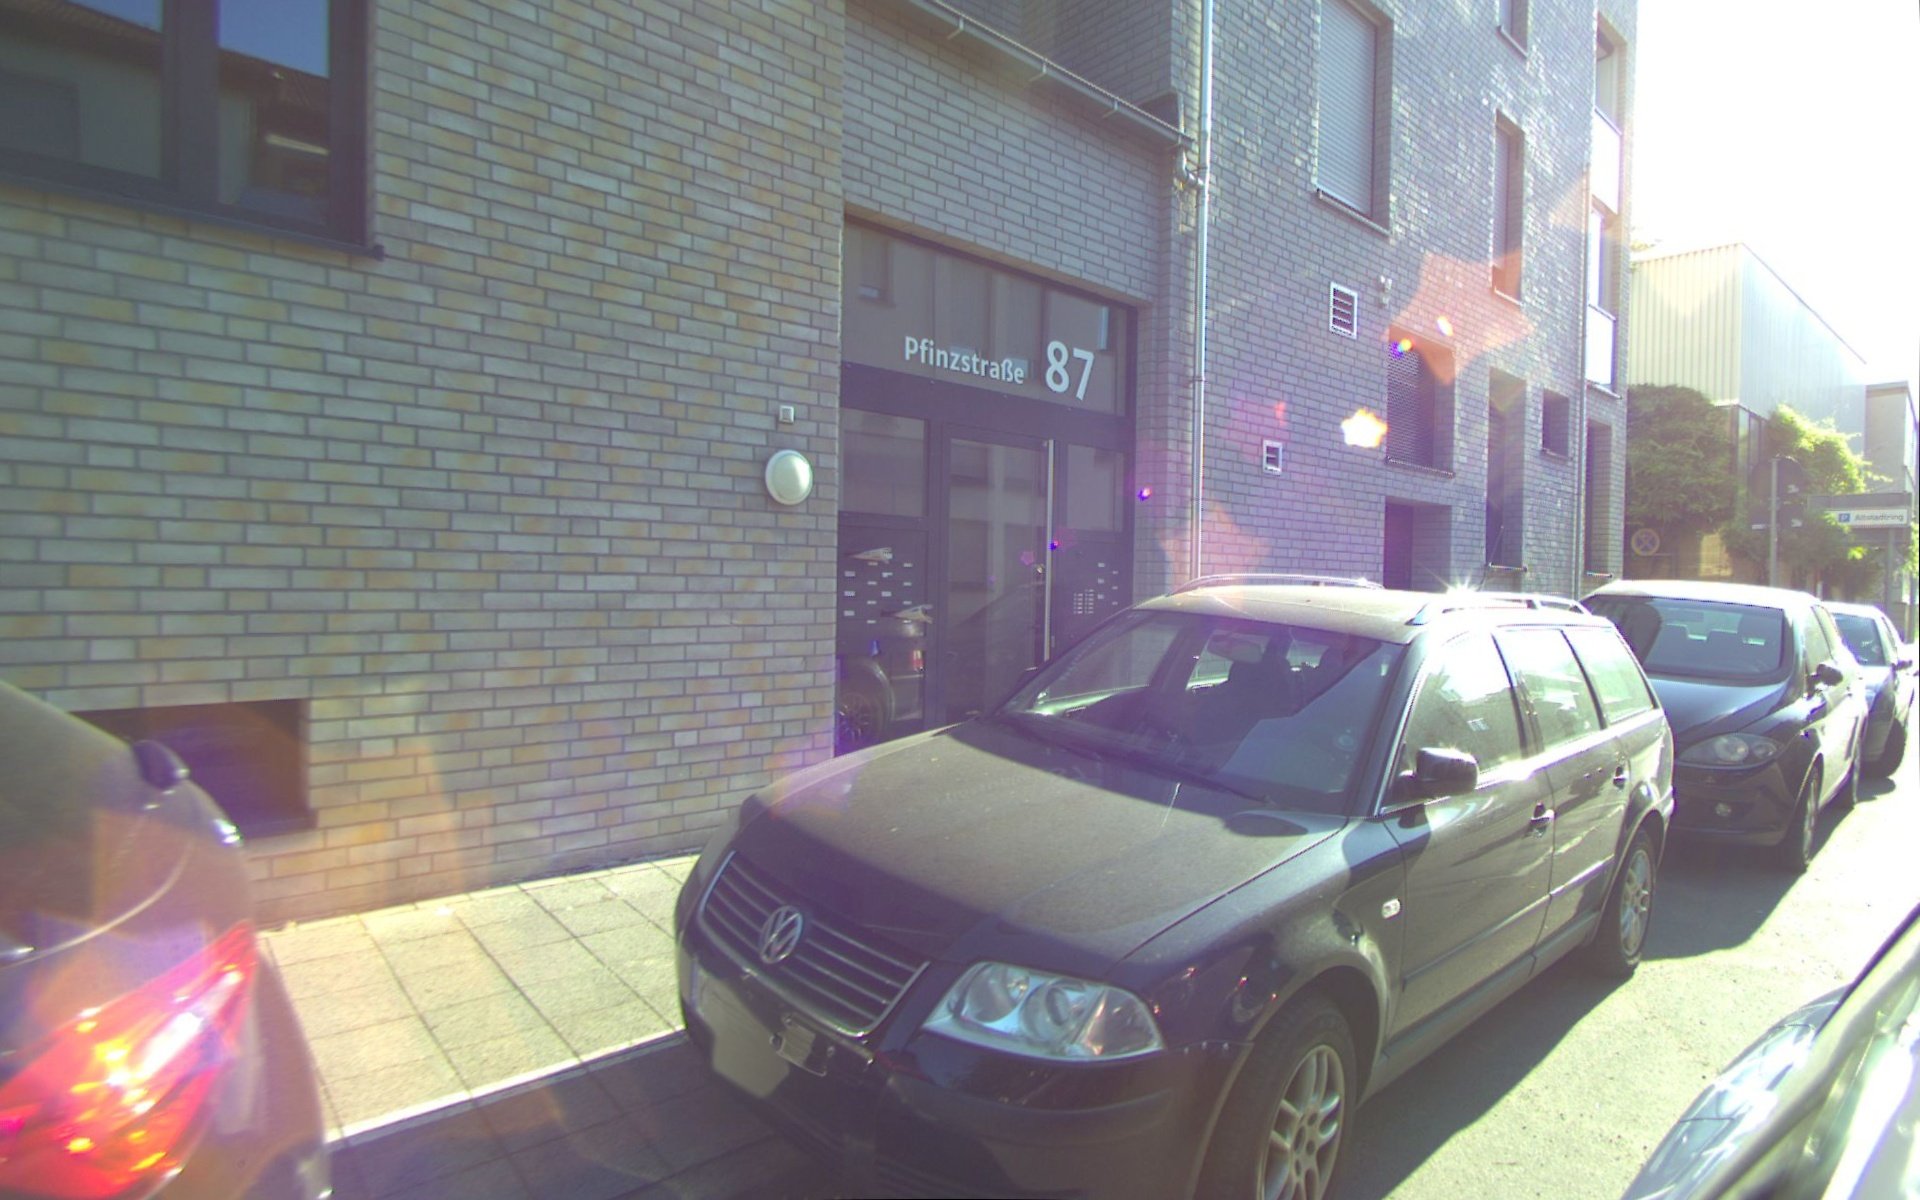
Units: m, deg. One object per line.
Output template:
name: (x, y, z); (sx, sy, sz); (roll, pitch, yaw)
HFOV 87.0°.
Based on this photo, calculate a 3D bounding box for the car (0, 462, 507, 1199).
car: (-2.776, 0.608, 0.267); (4.545, 1.547, 1.729); (-1, 5, -41)

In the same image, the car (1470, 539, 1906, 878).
car: (5.175, 0.478, 6.933); (4.271, 1.611, 1.652); (0, 3, -44)

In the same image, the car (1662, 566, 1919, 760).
car: (8.346, 0.464, 9.977); (1.728, 1.543, 3.595); (2, 2, 45)

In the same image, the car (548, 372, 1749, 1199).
car: (1.248, 0.527, 3.590); (4.757, 1.755, 1.669); (-1, 2, -43)
